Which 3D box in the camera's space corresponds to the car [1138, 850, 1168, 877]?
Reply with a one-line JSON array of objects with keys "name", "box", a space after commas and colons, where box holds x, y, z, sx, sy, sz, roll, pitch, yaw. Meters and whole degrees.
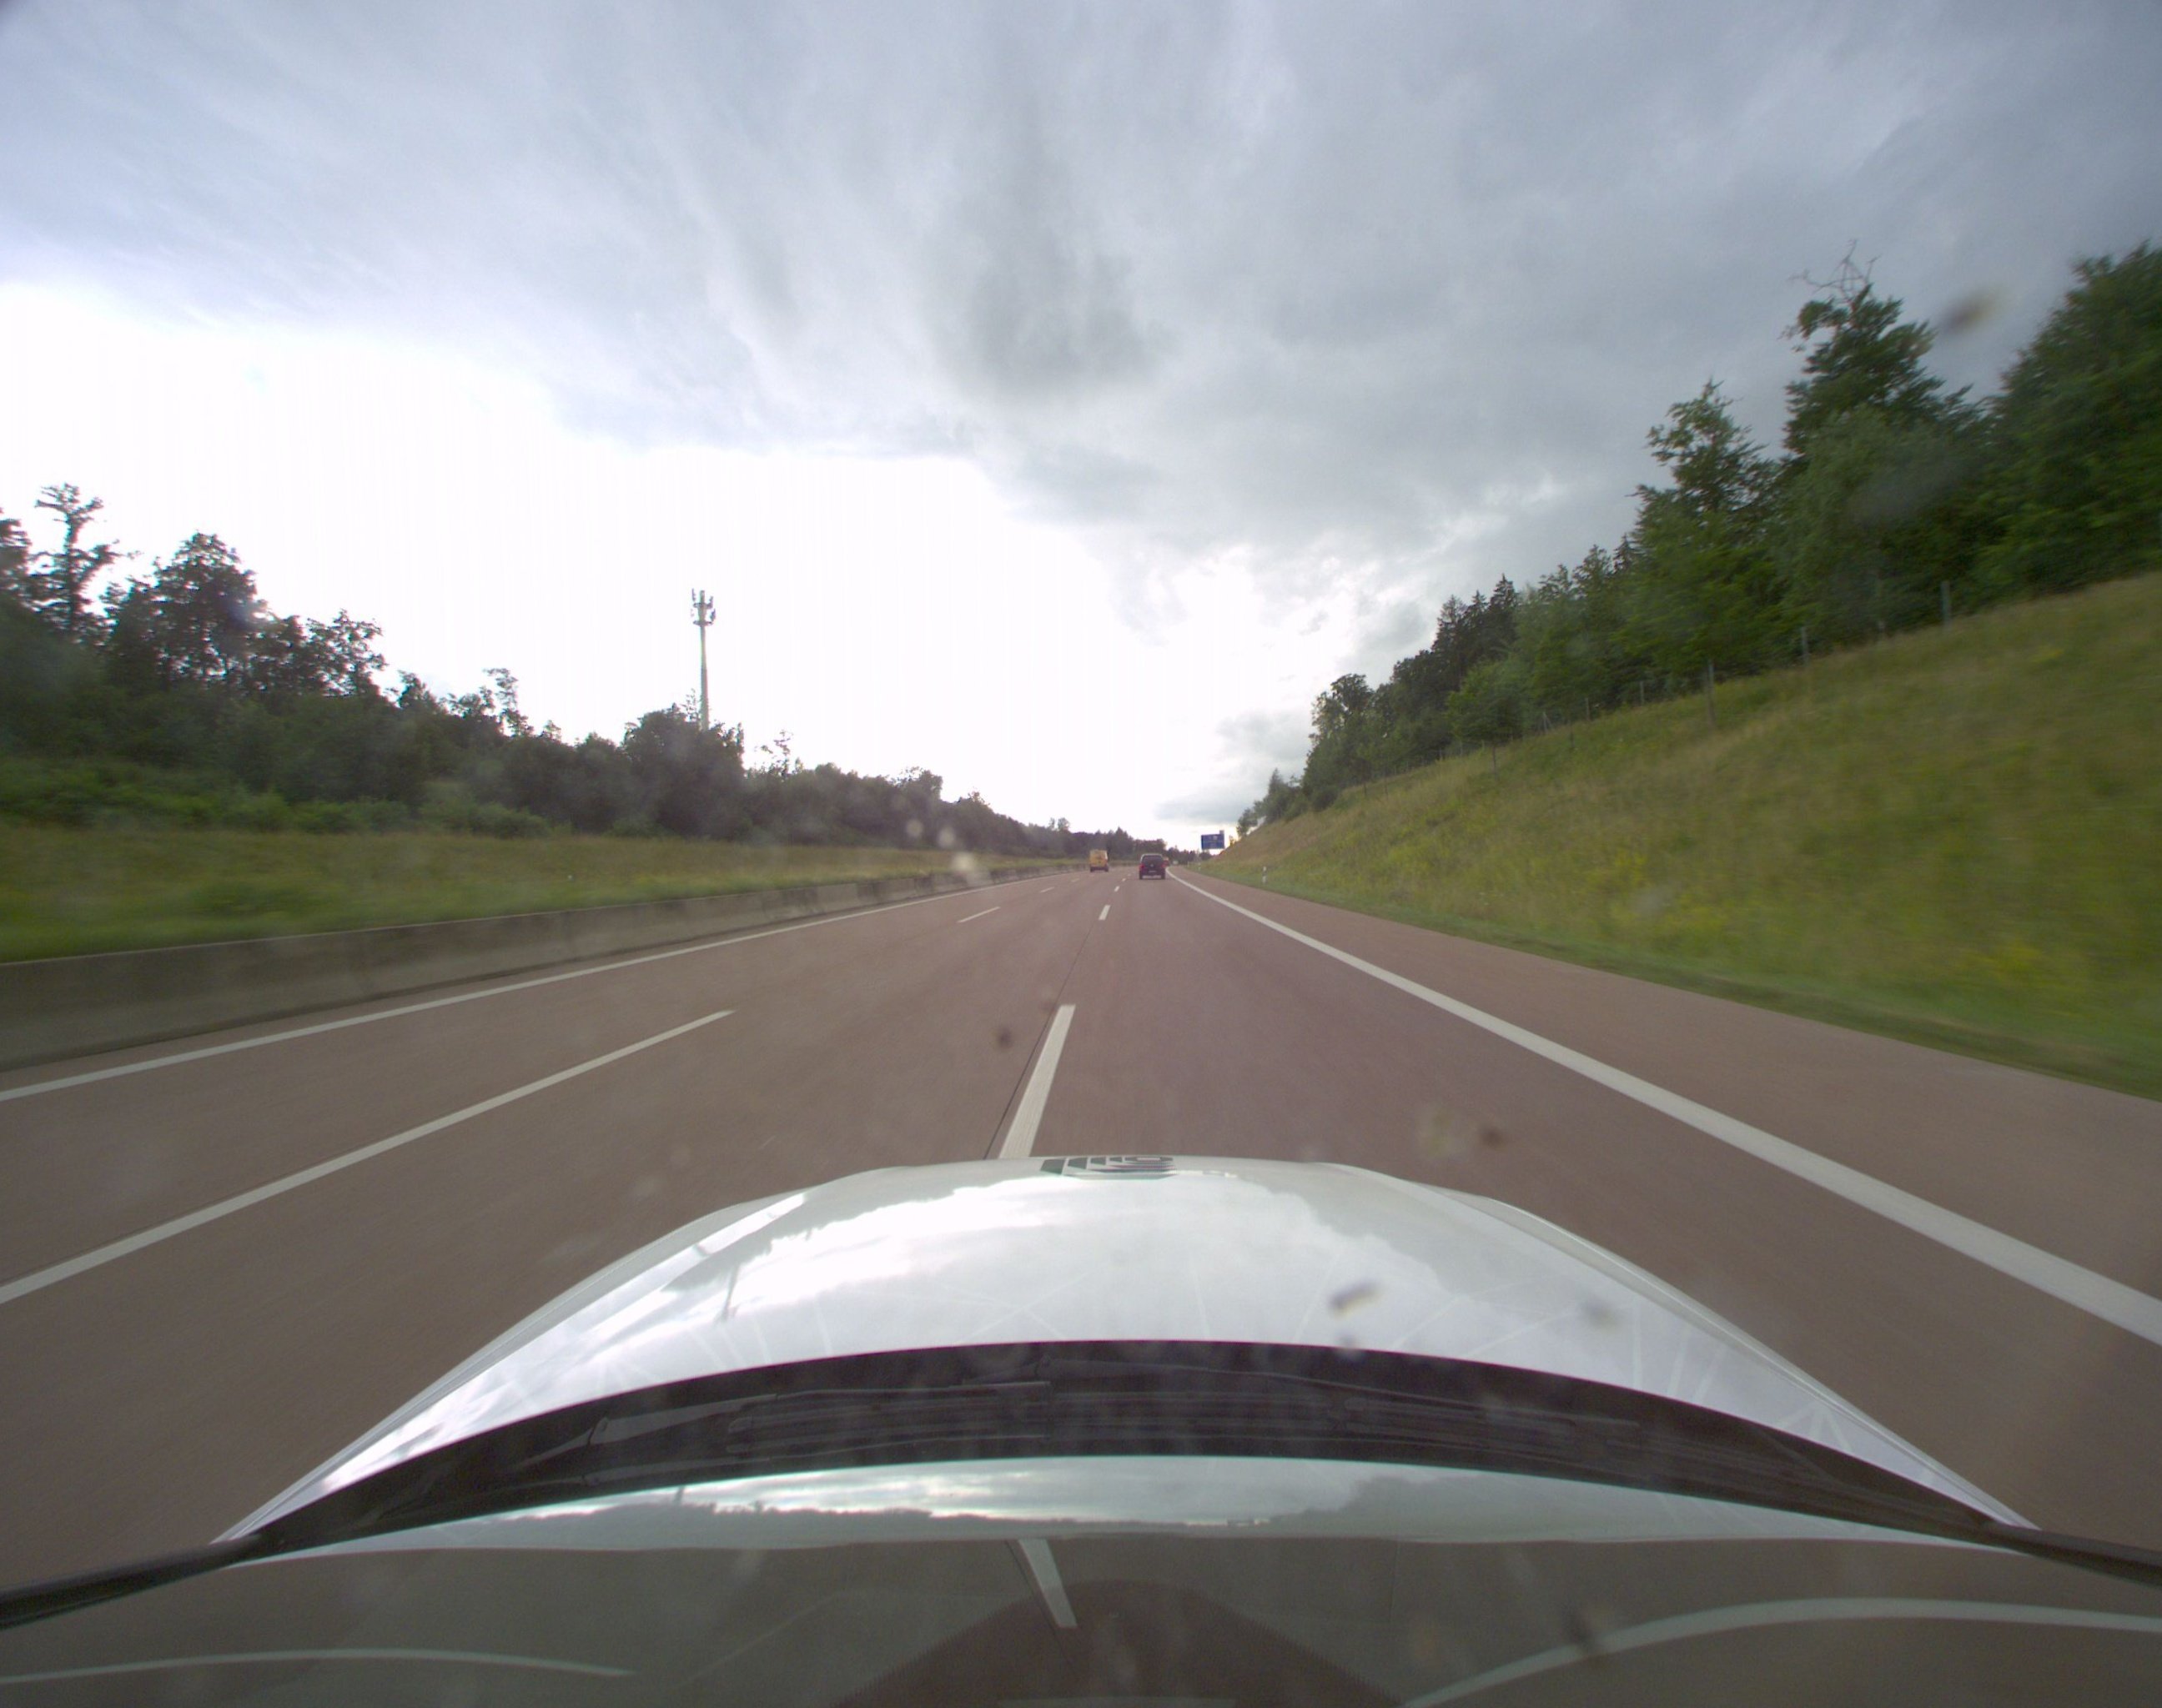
[{"name": "car", "box": [5.269, 0.747, 60.126, 2.035, 1.897, 5.582, -2, -2, 4]}]

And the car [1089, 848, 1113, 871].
[{"name": "car", "box": [2.550, 0.745, 100.873, 2.446, 2.706, 5.622, -2, -2, 6]}]

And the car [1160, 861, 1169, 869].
[{"name": "car", "box": [18.466, 2.409, 180.024, 1.968, 1.648, 4.625, -2, -2, 5]}]
